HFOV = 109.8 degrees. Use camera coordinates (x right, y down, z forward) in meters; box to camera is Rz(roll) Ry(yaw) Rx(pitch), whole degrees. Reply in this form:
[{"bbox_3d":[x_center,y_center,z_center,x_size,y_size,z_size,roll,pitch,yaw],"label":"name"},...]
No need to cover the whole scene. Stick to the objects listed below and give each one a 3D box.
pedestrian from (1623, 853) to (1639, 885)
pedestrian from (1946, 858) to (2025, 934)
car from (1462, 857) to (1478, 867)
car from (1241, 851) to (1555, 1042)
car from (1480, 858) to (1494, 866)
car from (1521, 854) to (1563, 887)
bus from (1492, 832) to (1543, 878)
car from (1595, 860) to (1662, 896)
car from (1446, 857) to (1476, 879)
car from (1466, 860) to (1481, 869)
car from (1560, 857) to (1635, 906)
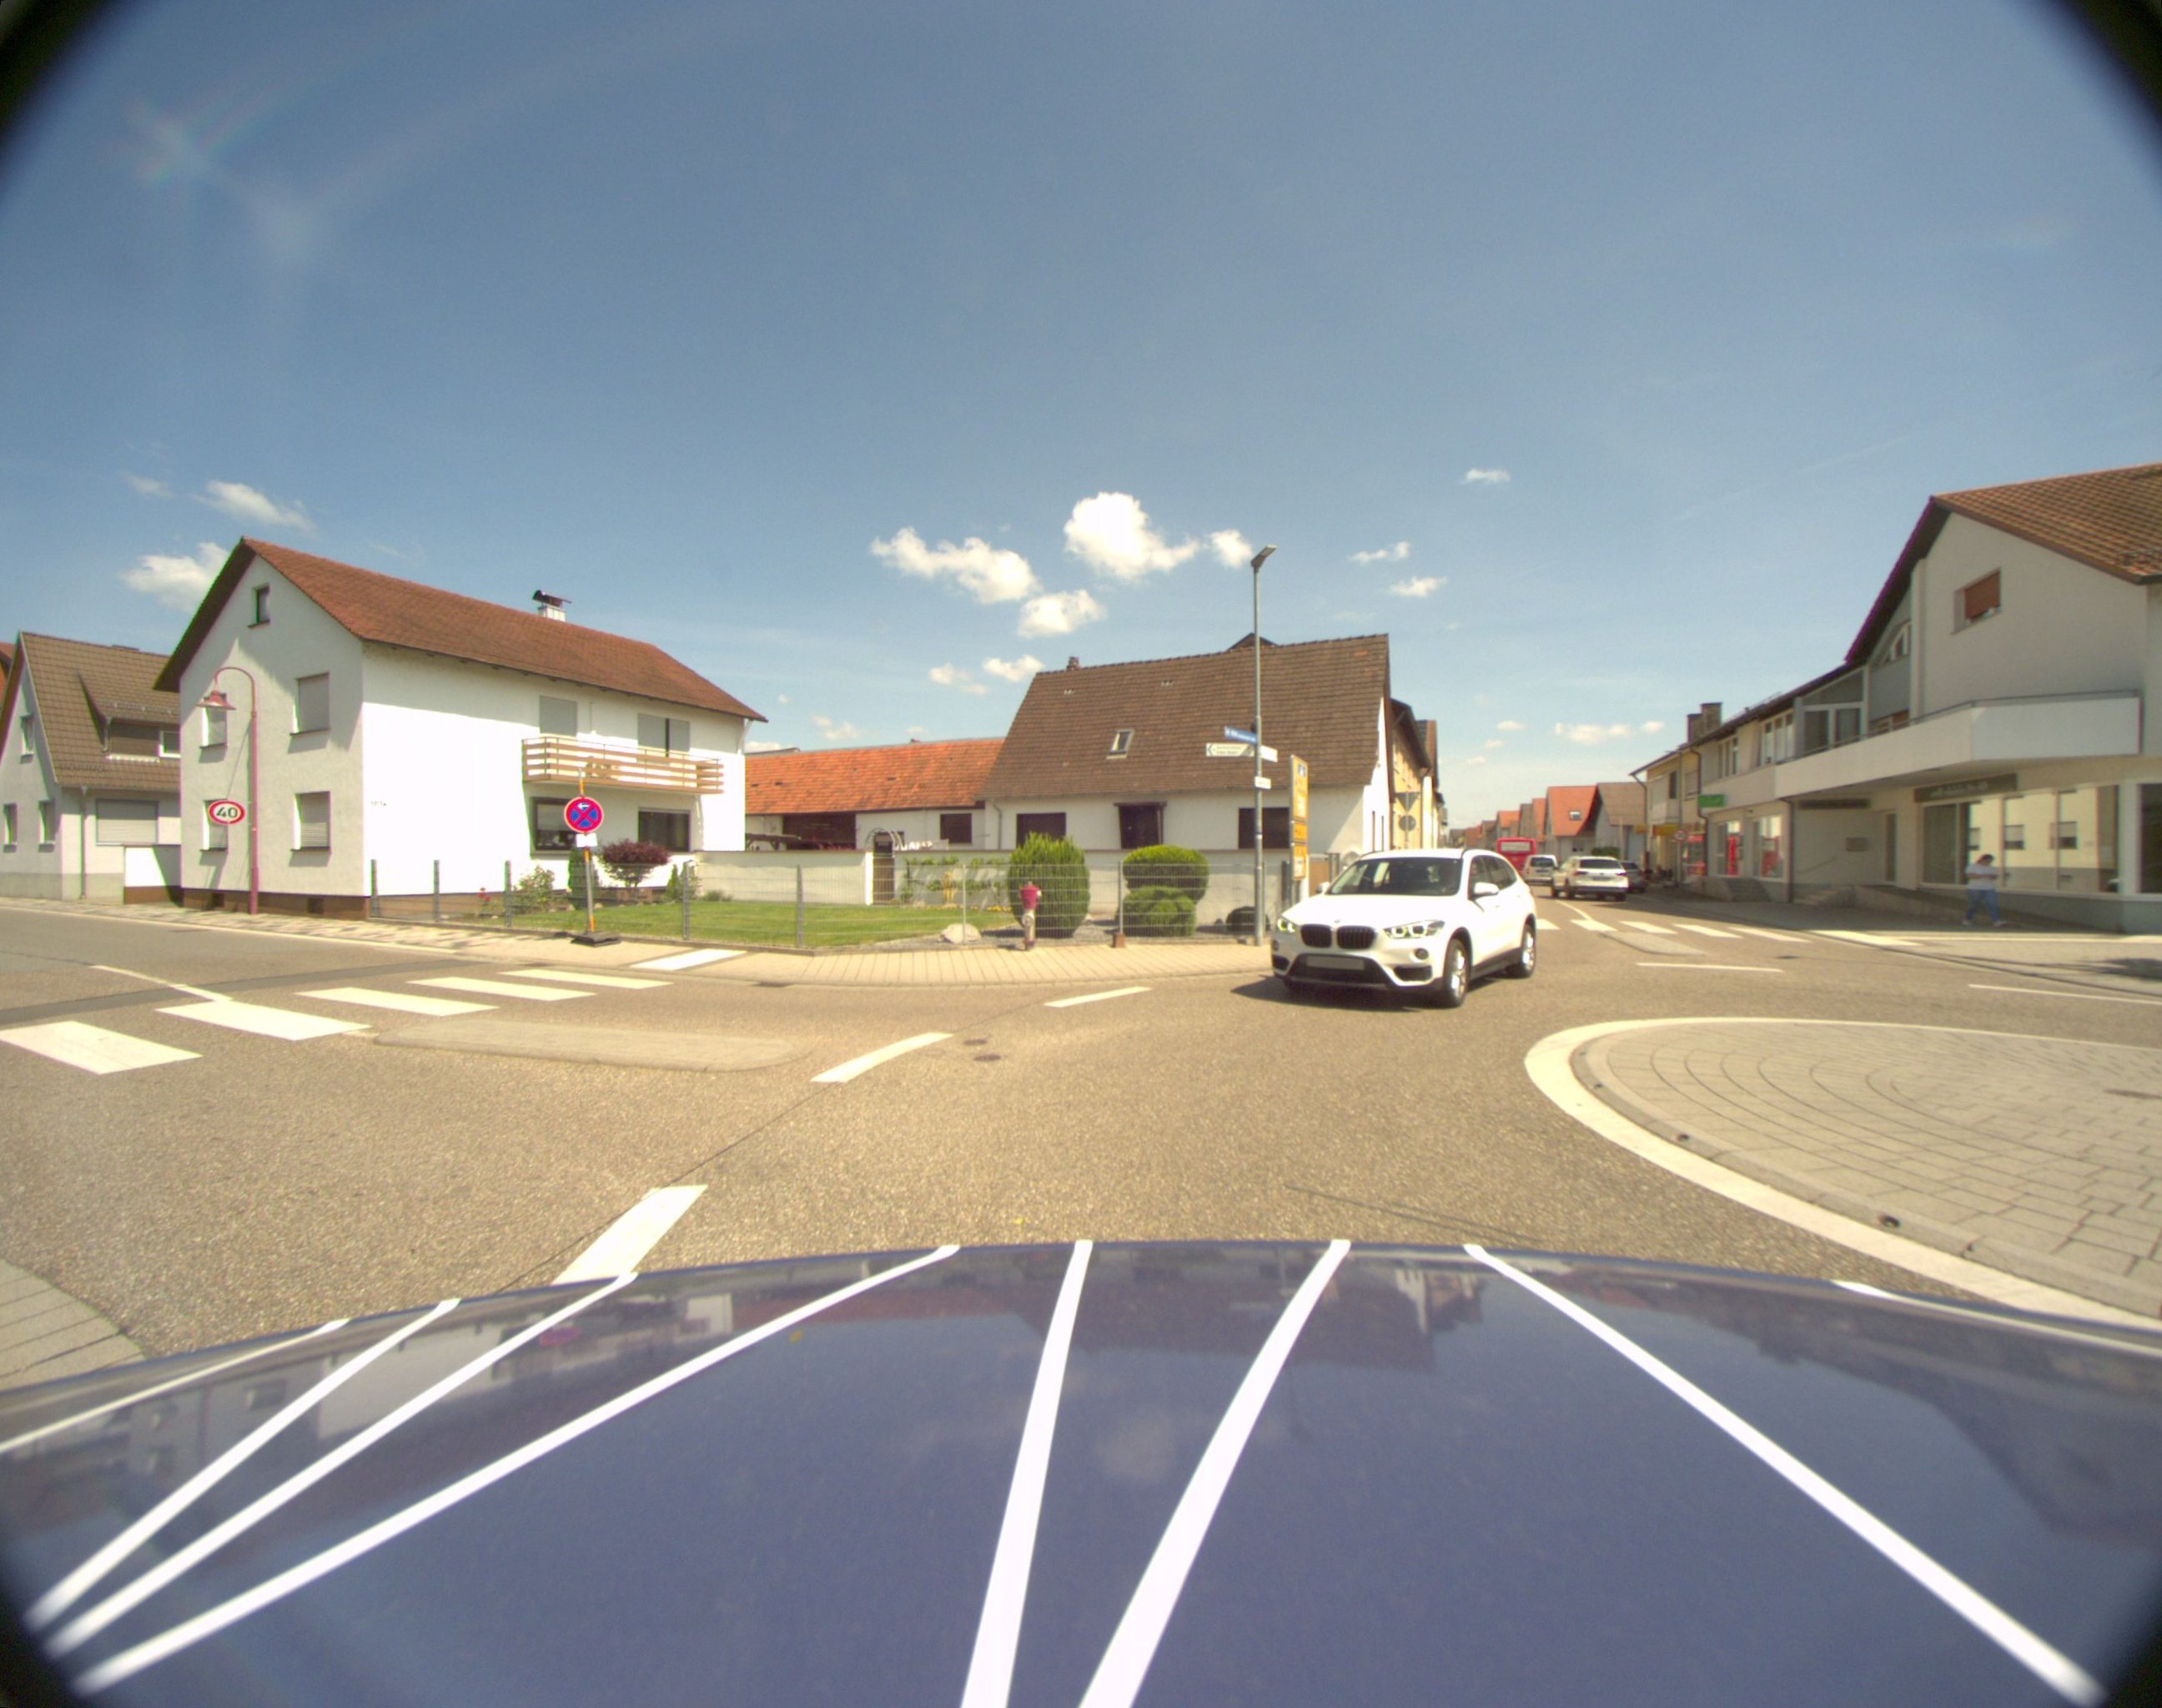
[{"bbox_3d":[31.205,0.873,43.118,0.577,1.779,0.694,-2,0,27],"label":"pedestrian"},{"bbox_3d":[19.423,0.885,16.342,0.756,1.574,0.958,-2,0,28],"label":"pedestrian"},{"bbox_3d":[55.274,1.157,108.036,1.761,1.420,4.196,0,0,24],"label":"car"},{"bbox_3d":[3.844,0.820,8.743,1.841,1.635,4.383,-3,-1,44],"label":"car"},{"bbox_3d":[72.374,1.345,135.493,1.761,1.420,3.859,0,0,24],"label":"car"},{"bbox_3d":[27.443,0.951,45.351,1.772,1.810,4.450,2,1,27],"label":"car"},{"bbox_3d":[34.031,0.031,59.635,2.628,3.213,12.045,2,1,26],"label":"bus"},{"bbox_3d":[25.688,1.092,35.782,1.745,1.506,4.007,-4,-1,25],"label":"car"},{"bbox_3d":[26.273,0.921,52.524,1.761,1.420,4.197,0,0,26],"label":"car"},{"bbox_3d":[61.005,1.575,118.195,1.761,1.420,4.196,0,0,24],"label":"car"},{"bbox_3d":[19.564,0.957,28.960,1.867,1.700,4.551,0,0,28],"label":"car"}]
